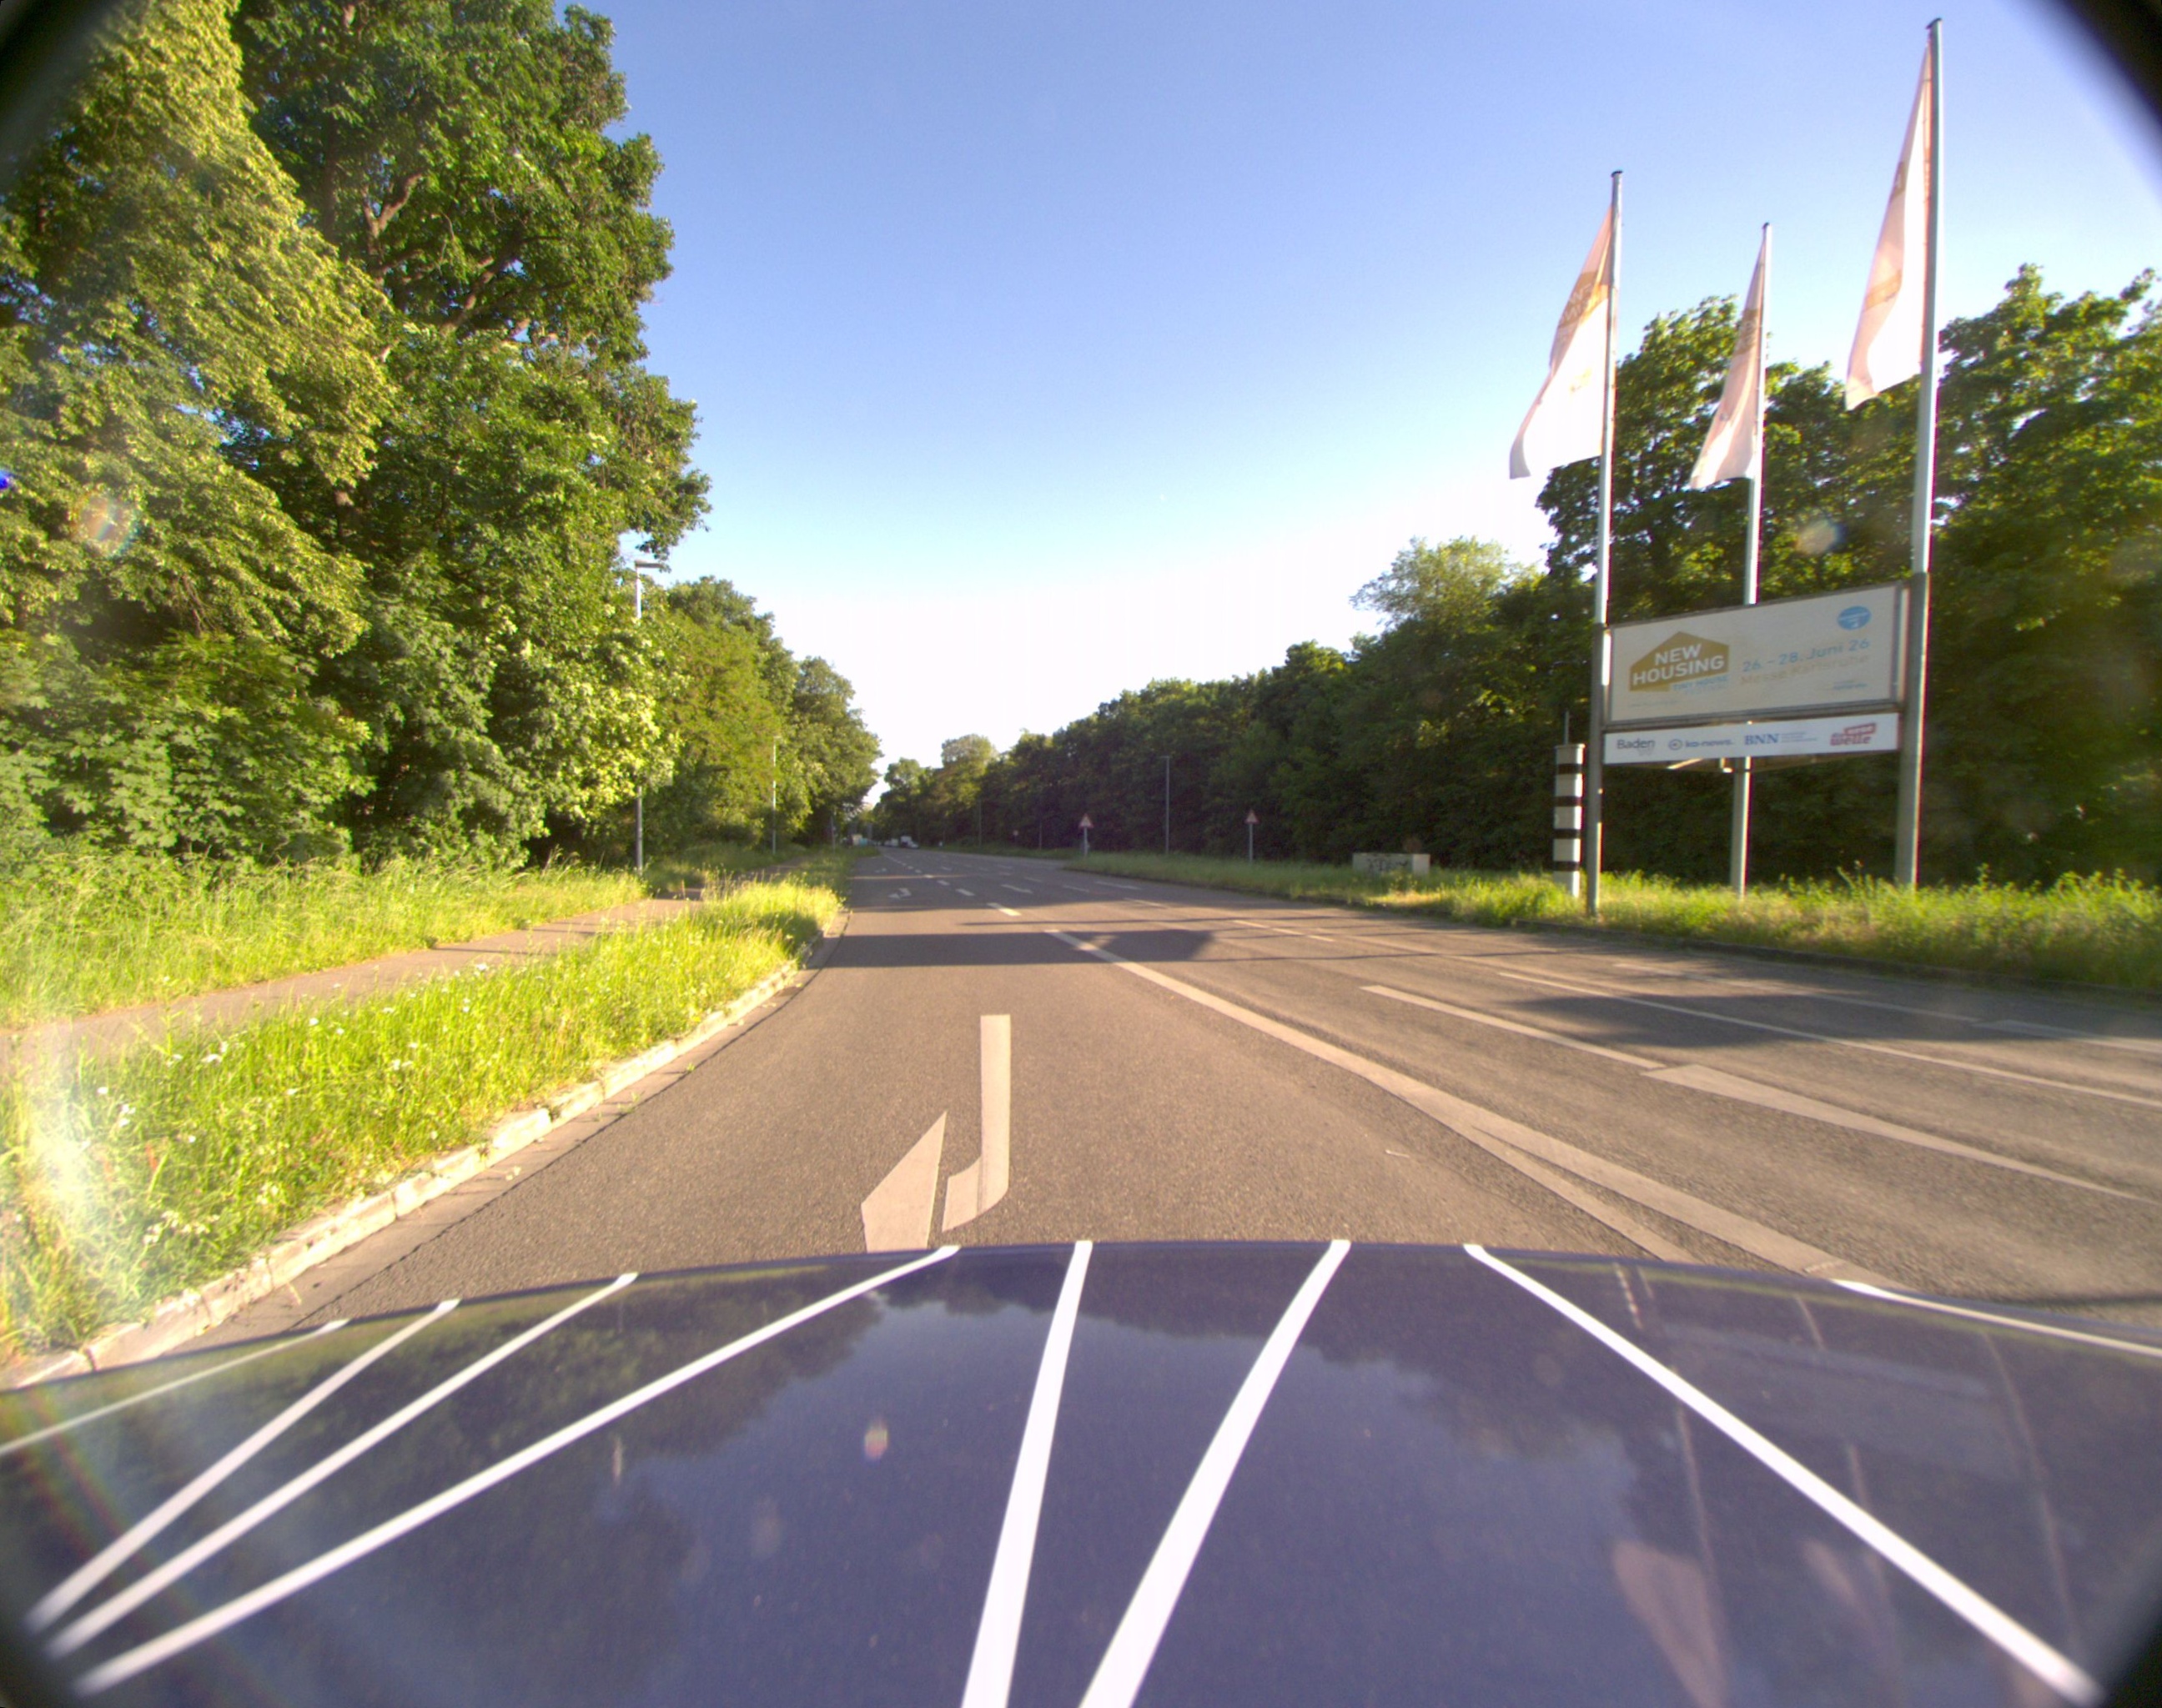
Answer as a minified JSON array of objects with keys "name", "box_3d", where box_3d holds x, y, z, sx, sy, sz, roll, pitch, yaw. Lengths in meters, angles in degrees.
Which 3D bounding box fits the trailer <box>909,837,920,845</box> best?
[{"name":"trailer","box_3d":[-37.030,-2.931,169.219,1.809,1.719,3.640,1,1,-20]}]

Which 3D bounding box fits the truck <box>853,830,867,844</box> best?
[{"name":"truck","box_3d":[-53.241,-4.059,182.799,2.710,3.219,7.114,1,1,-20]}]

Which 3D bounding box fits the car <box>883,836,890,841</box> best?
[{"name":"car","box_3d":[-60.731,-4.992,237.445,1.809,1.496,3.905,1,1,-20]}]

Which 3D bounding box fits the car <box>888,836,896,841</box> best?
[{"name":"car","box_3d":[-55.405,-4.571,222.541,1.809,1.496,3.905,1,1,-20]}]

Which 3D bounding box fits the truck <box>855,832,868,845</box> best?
[{"name":"truck","box_3d":[-50.030,-3.595,173.213,2.393,2.856,5.587,-3,3,-20]}]

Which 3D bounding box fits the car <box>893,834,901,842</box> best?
[{"name":"car","box_3d":[-51.004,-4.422,210.799,1.694,2.089,4.623,1,1,-20]}]

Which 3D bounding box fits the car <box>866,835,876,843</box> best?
[{"name":"car","box_3d":[-53.050,-3.787,192.086,2.002,2.002,3.992,0,2,-22]}]

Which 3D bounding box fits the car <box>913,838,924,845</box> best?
[{"name":"car","box_3d":[-35.165,-2.737,164.381,1.918,1.456,4.004,1,1,-20]}]

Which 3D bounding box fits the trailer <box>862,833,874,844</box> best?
[{"name":"trailer","box_3d":[-43.862,-3.217,156.438,1.872,2.166,4.121,-2,2,-20]}]

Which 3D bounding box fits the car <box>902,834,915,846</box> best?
[{"name":"car","box_3d":[-40.909,-3.398,180.275,2.464,2.831,4.789,1,1,-20]}]
